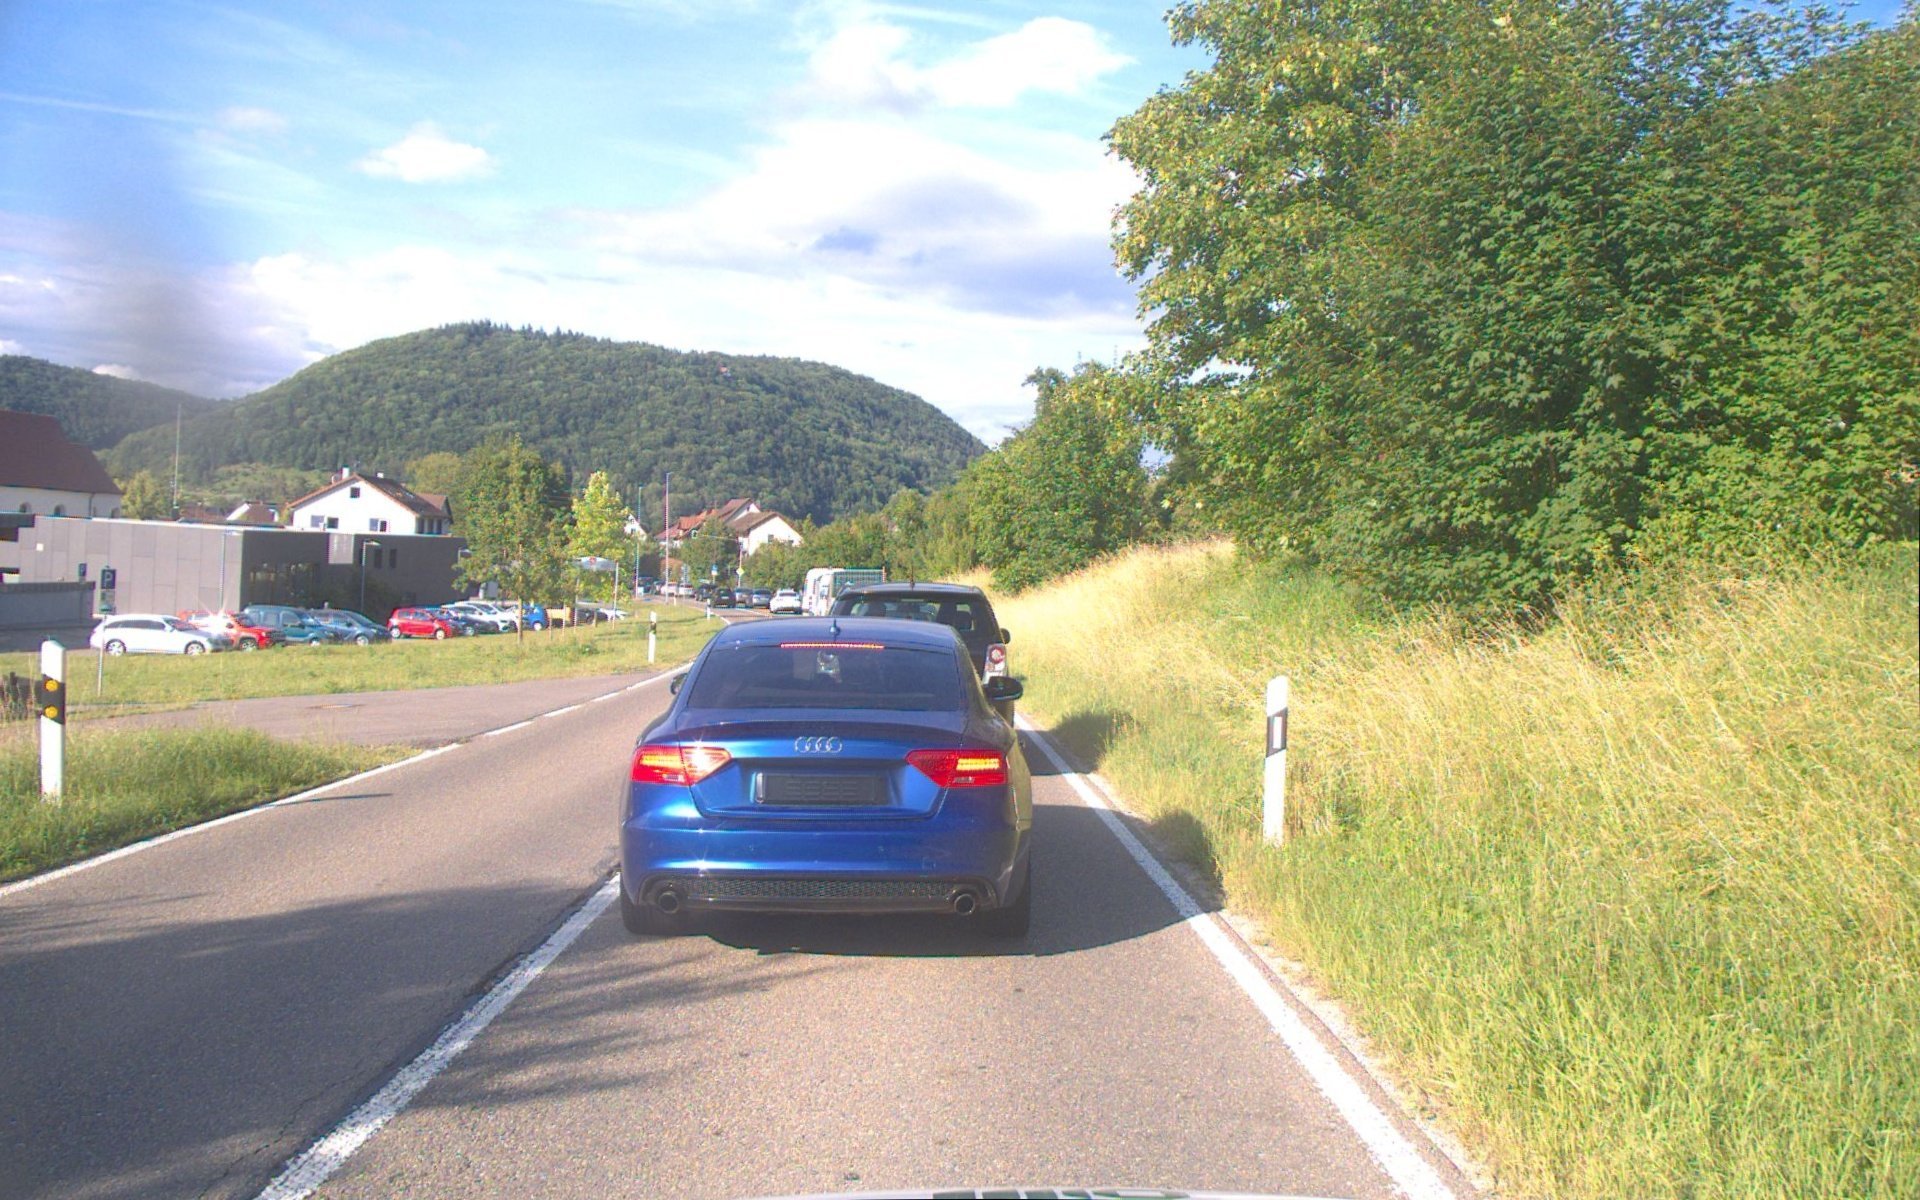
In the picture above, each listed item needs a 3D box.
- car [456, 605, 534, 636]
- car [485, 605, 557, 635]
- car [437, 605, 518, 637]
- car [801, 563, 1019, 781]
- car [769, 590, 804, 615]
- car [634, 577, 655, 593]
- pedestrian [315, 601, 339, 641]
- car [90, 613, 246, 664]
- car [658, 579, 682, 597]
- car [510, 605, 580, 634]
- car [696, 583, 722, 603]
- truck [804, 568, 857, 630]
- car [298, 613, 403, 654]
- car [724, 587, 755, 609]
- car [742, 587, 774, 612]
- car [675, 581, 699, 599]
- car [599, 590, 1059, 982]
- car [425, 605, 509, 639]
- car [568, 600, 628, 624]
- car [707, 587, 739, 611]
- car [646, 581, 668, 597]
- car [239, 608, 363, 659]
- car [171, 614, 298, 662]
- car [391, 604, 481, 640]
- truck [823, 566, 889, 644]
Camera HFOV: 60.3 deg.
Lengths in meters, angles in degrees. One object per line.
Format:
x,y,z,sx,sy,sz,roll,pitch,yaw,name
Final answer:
-26.726,1.179,95.114,3.907,1.741,1.999,1,0,-3,car
-26.755,1.209,100.900,3.907,1.741,1.999,1,0,-3,car
-26.776,1.161,91.829,3.907,1.741,1.999,1,0,-3,car
-0.395,0.584,15.121,1.718,1.710,3.846,1,0,0,car
-10.983,0.140,104.687,1.813,1.508,3.988,1,0,-12,car
-36.602,-1.711,191.823,1.817,1.742,3.979,1,0,-19,car
-32.710,1.087,85.483,0.808,2.049,0.973,1,-1,-1,pedestrian
-28.664,1.388,59.977,4.637,1.741,1.999,1,0,-3,car
-30.756,-1.261,175.340,1.817,1.742,3.978,1,0,-19,car
-25.980,1.236,103.587,3.907,1.741,1.999,1,0,-3,car
-23.060,-0.616,151.950,1.816,1.742,3.981,1,0,-17,car
-5.915,-0.026,74.861,2.187,2.615,6.699,1,0,-6,truck
-26.986,1.486,73.324,3.907,1.741,1.999,1,0,-3,car
-17.738,-0.158,132.745,1.816,1.742,3.981,1,0,-17,car
-14.906,-0.049,121.820,1.815,1.742,3.984,1,0,-15,car
-27.566,-0.969,166.775,1.817,1.742,3.979,1,0,-18,car
-0.492,0.715,8.191,1.718,1.455,3.846,1,0,0,car
-26.253,1.151,88.181,3.907,1.741,1.999,1,0,-3,car
-25.833,0.863,118.155,3.907,1.606,1.751,1,0,-3,car
-17.621,-0.090,122.792,1.815,1.742,3.984,1,0,-15,car
-33.753,-1.235,184.191,1.818,1.742,3.977,1,0,-19,car
-27.379,1.386,68.816,4.318,2.043,1.999,1,0,-3,car
-27.601,1.421,63.002,3.907,1.741,1.999,1,0,-3,car
-26.477,1.123,83.629,3.907,1.741,1.999,1,0,-3,car
-3.783,0.180,59.211,2.186,2.615,6.097,1,0,-5,truck
